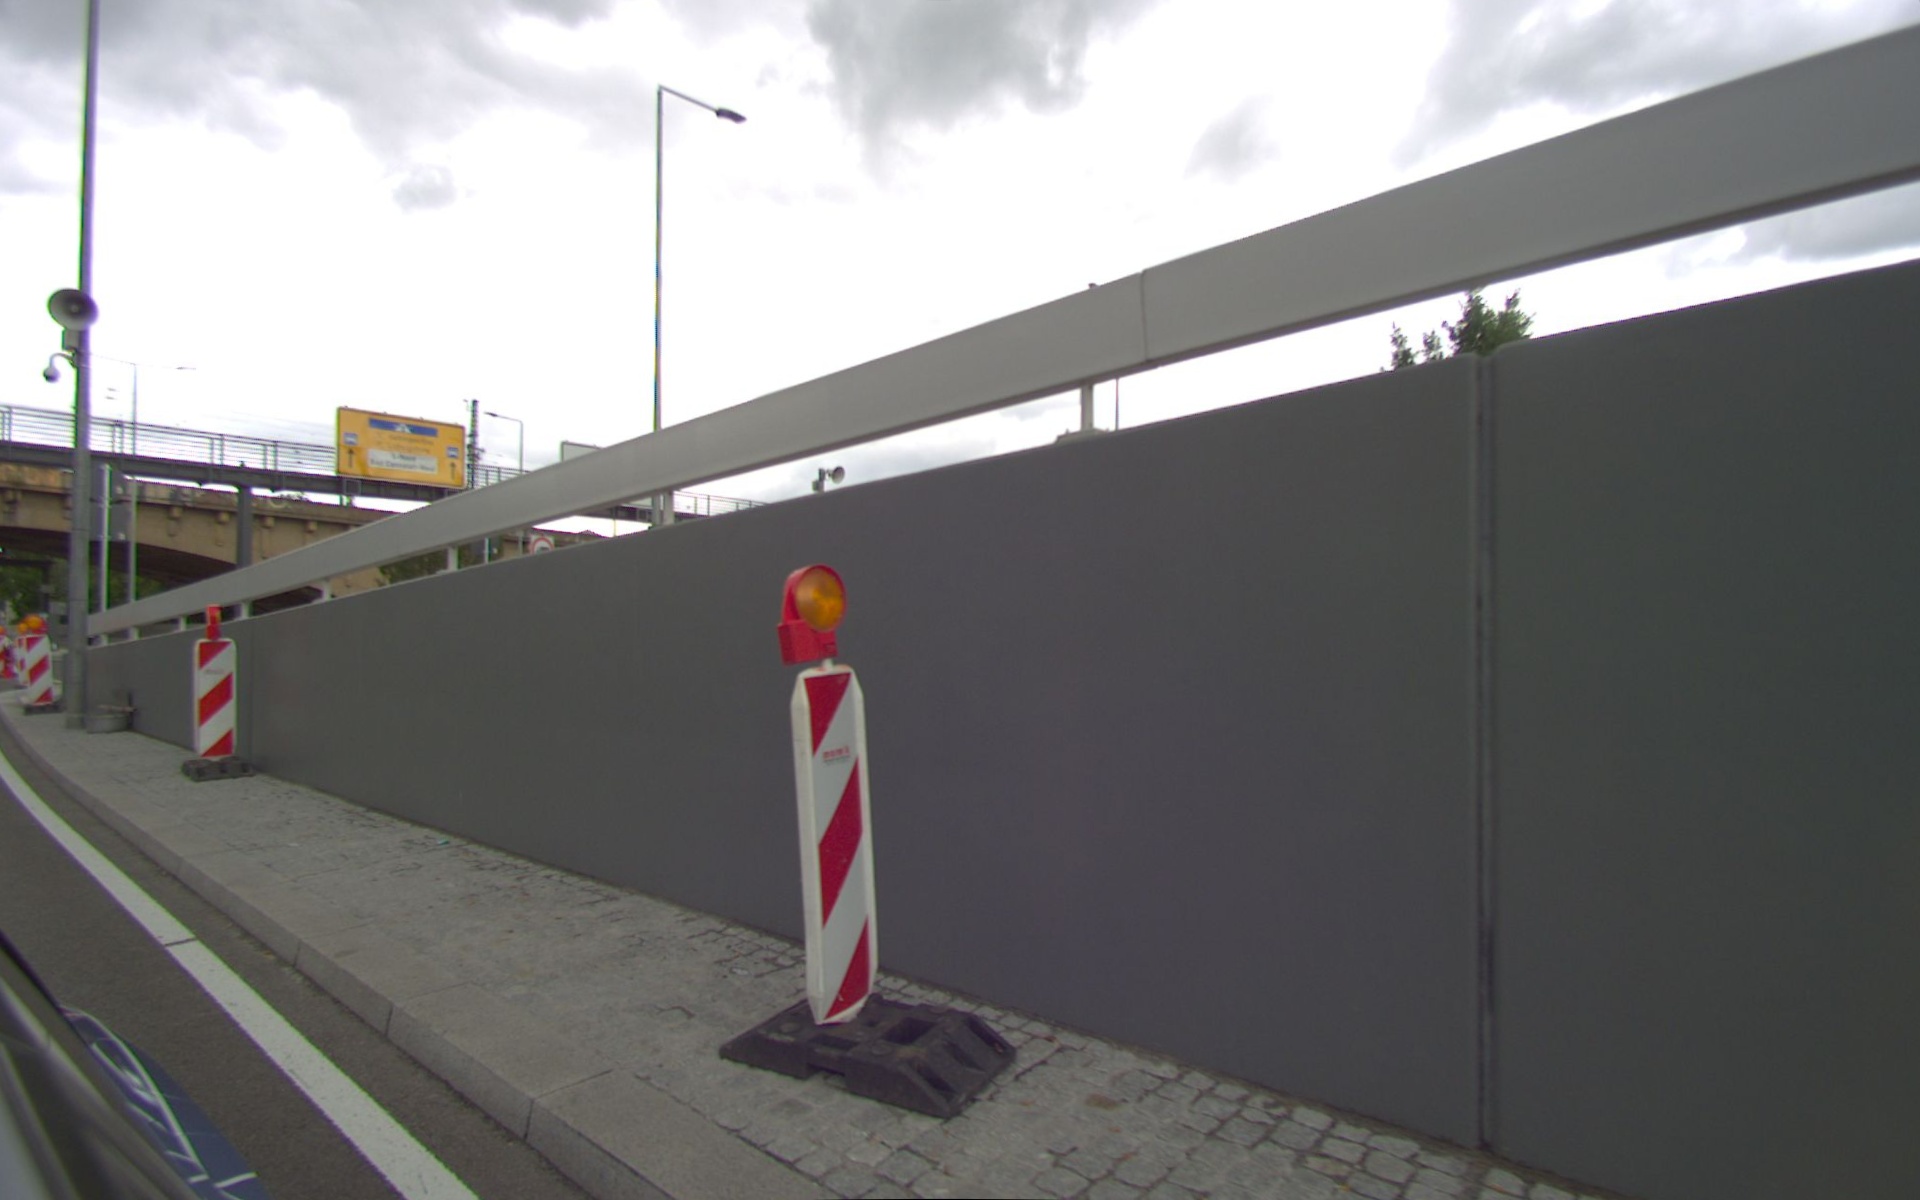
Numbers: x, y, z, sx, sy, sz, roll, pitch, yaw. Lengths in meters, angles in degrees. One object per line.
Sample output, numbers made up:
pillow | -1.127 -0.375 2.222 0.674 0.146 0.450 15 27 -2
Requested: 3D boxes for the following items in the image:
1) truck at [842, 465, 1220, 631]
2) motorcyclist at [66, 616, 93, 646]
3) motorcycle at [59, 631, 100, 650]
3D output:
truck | 1.572 -1.171 28.153 10.601 3.415 2.707 -5 -1 37
motorcyclist | -48.603 1.706 55.842 1.095 1.618 0.662 -2 -1 21
motorcycle | -48.589 2.232 55.830 2.377 0.924 0.662 -2 -1 21
